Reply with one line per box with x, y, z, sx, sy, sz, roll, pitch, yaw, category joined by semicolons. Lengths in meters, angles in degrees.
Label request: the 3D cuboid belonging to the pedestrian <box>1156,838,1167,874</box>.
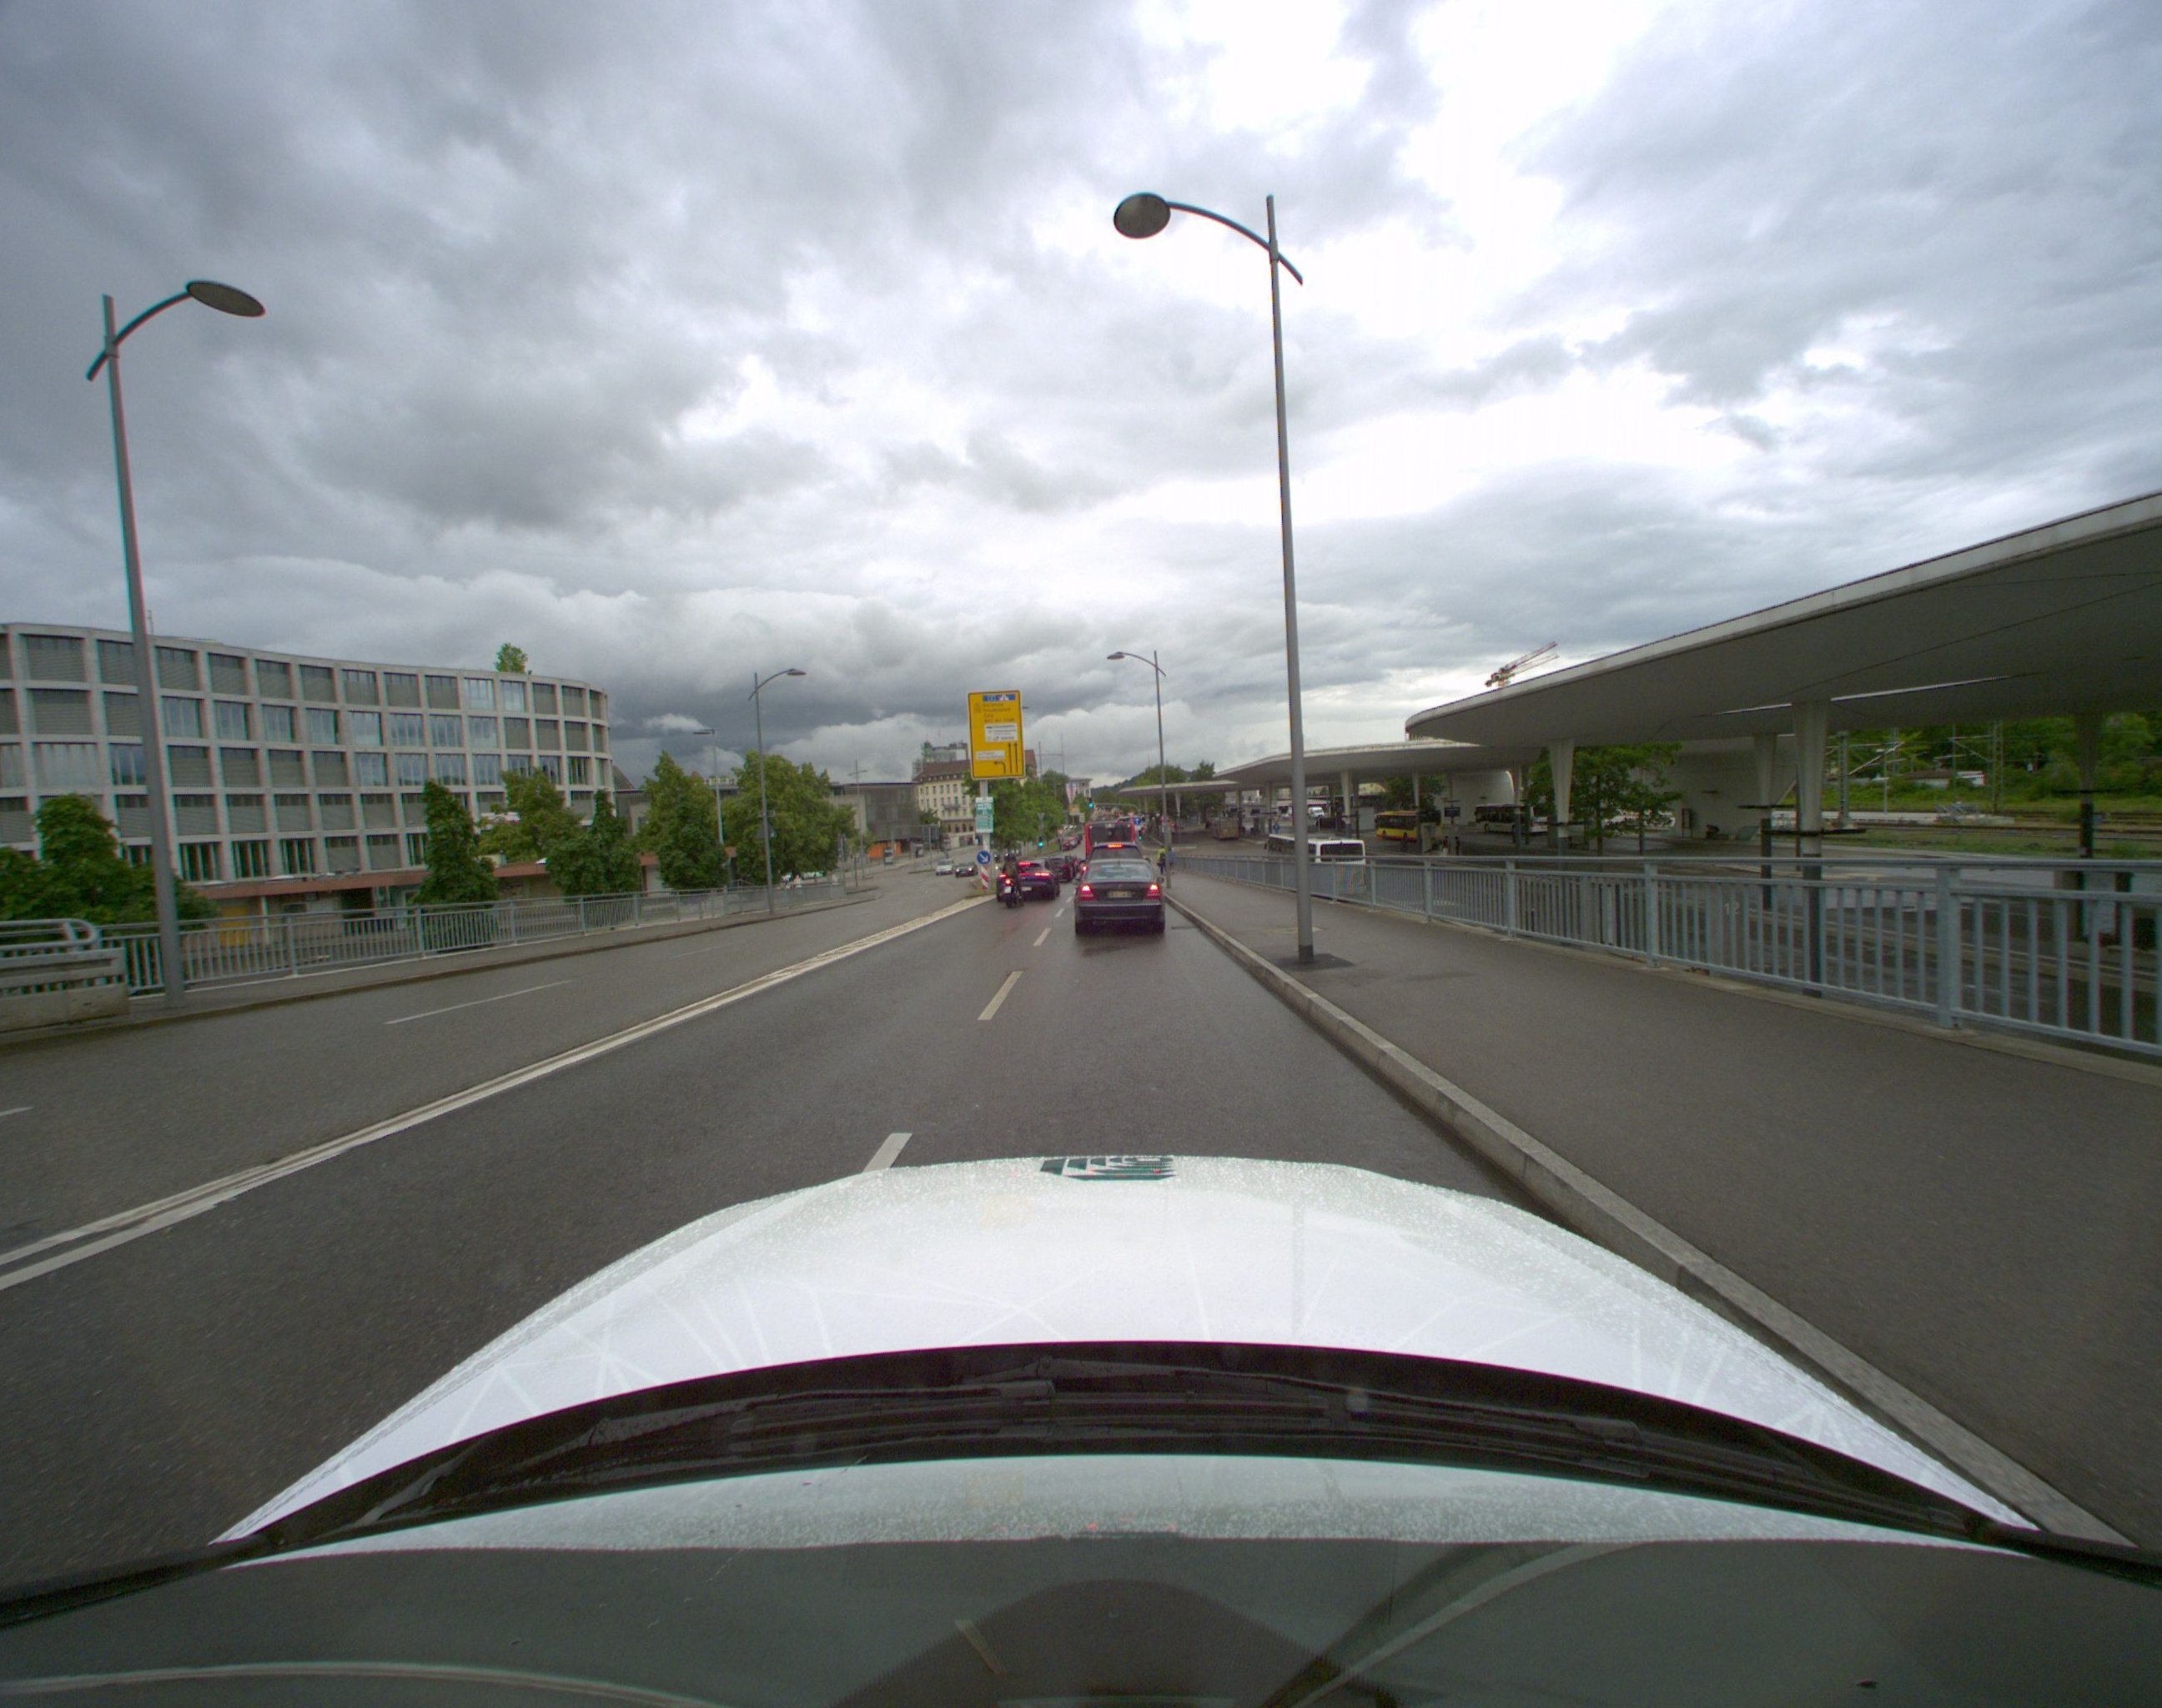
4.552;0.139;46.146;0.487;2.014;0.470;-3;-2;4;pedestrian

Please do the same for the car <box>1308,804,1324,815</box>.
47.030;-8.800;162.961;1.986;2.013;4.002;-3;2;1;car

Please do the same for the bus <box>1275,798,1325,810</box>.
47.052;-10.745;174.787;10.140;2.013;2.169;-3;1;-2;bus

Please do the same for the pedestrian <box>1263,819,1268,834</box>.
25.891;-3.900;114.366;0.422;2.014;0.484;-3;-2;4;pedestrian

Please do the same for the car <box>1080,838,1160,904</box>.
1.190;0.416;23.074;1.816;1.687;4.010;-1;1;8;car

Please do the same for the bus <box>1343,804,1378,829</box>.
37.626;-5.035;109.772;2.589;3.209;7.002;-3;2;4;bus

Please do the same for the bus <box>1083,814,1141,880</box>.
1.676;-0.365;45.477;2.817;3.189;10.313;-2;0;2;bus

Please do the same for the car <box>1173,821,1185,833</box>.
17.286;-4.731;143.305;1.983;2.013;4.009;-3;1;7;car

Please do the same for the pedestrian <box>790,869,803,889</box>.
-20.645;1.818;59.026;0.645;1.408;0.531;-3;2;4;pedestrian

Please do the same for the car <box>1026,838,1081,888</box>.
-1.128;0.341;35.489;1.985;2.006;4.003;-2;1;3;car

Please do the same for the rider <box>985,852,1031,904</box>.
-2.159;0.692;24.415;0.876;1.472;2.201;-1;0;8;rider

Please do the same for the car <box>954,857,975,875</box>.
-11.678;1.208;81.670;1.830;1.526;4.586;-4;1;-6;car

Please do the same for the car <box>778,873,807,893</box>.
-31.828;3.166;89.693;2.008;2.013;3.958;1;1;-35;car

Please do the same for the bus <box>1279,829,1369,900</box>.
12.951;0.412;44.024;2.639;3.235;7.069;-1;4;-2;bus

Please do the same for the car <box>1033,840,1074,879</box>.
-1.484;0.283;45.264;1.986;2.006;4.001;-2;1;1;car

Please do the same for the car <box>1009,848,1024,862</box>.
-9.750;0.183;122.935;1.990;2.013;4.195;-3;-1;-5;car

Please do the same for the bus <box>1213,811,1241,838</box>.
21.041;-4.152;117.662;3.162;3.600;10.530;-3;1;7;bus

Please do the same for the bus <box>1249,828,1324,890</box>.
12.754;0.173;51.145;2.639;3.235;7.069;-3;4;-1;bus

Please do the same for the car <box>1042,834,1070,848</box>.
-3.827;-1.997;124.701;3.967;2.013;2.004;-3;1;6;car

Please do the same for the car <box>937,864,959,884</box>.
-14.558;2.197;89.581;1.991;2.013;3.992;-4;0;-6;car

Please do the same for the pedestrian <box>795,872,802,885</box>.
-20.530;1.765;59.190;0.299;0.873;0.299;-3;2;4;pedestrian

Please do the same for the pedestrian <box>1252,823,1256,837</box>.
25.096;-3.452;117.880;0.422;2.013;0.484;-3;0;4;pedestrian

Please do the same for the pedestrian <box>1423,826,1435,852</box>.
26.806;-1.167;62.750;0.541;2.013;0.580;-3;0;2;pedestrian

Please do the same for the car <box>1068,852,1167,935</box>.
0.718;0.697;16.229;1.699;1.419;3.727;-2;0;2;car

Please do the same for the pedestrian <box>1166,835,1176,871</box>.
5.086;-0.039;46.170;0.422;2.014;0.484;-3;-2;4;pedestrian

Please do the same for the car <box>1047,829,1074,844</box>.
-3.257;-2.811;130.785;3.967;2.013;2.004;-3;1;6;car

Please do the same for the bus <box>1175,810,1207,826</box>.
26.535;-8.598;196.383;7.180;3.396;3.080;-4;2;-2;bus

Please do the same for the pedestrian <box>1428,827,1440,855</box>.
26.607;-0.975;61.441;0.541;2.013;0.580;-3;0;2;pedestrian

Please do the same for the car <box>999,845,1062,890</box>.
-1.696;0.420;28.517;1.753;1.436;4.002;-2;1;2;car
